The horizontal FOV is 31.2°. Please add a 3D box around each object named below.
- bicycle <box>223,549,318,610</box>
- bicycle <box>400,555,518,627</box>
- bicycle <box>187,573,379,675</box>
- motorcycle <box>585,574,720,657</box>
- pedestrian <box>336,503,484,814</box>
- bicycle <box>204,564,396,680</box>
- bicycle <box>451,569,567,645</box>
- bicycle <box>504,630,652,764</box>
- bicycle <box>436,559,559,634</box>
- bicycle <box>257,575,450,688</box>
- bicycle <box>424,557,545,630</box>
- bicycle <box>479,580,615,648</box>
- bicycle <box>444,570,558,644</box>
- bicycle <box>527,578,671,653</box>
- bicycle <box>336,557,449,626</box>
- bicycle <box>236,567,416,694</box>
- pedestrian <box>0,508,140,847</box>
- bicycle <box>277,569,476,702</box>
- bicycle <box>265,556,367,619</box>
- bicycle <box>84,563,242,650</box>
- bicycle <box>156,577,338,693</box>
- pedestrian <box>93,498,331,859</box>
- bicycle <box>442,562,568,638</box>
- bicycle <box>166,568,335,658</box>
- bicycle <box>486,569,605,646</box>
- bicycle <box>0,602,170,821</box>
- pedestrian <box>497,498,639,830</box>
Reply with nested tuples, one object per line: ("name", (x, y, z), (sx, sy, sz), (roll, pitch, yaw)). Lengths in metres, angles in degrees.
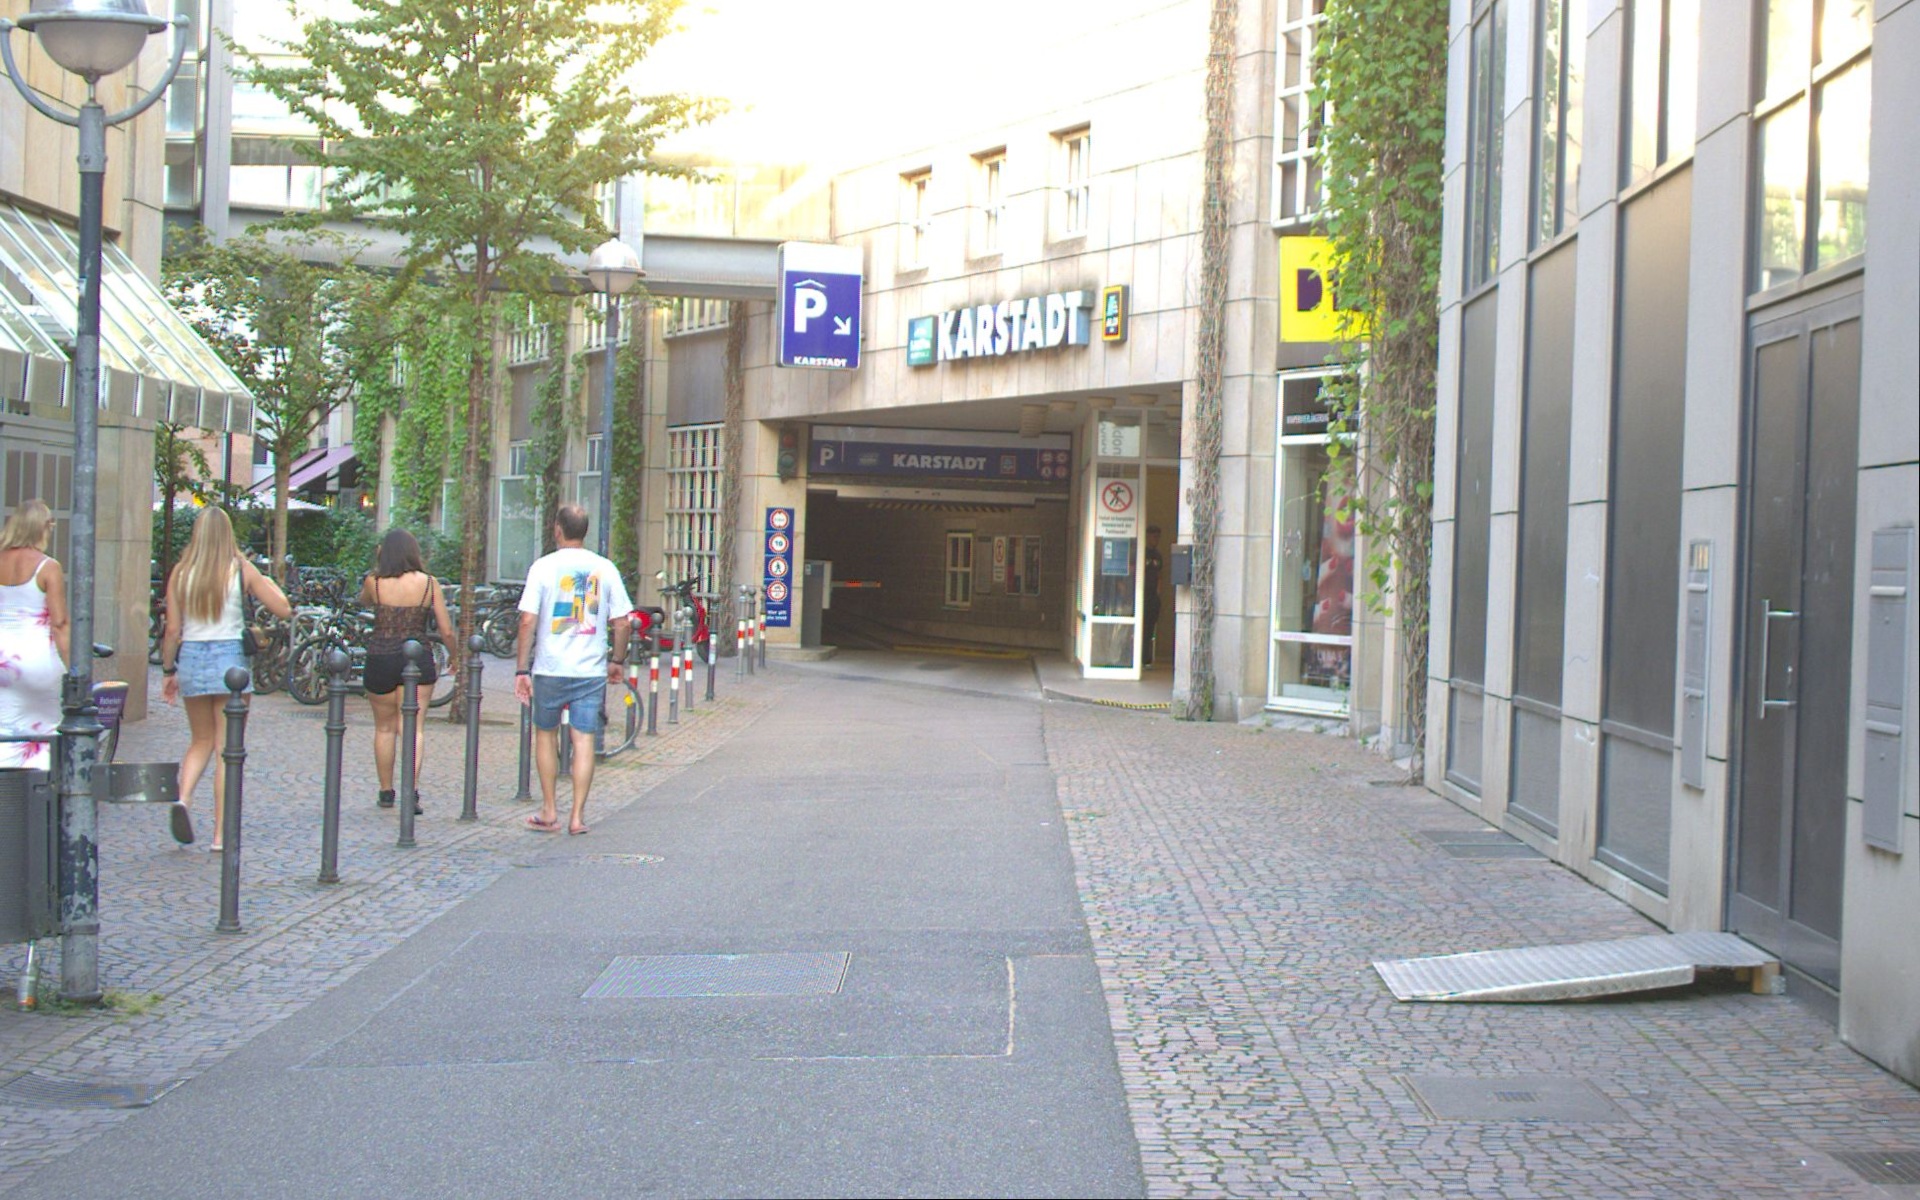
("bicycle", (-13.683, -0.409, 68.225), (1.773, 1.186, 0.586), (1, 1, -20))
("bicycle", (-8.000, -0.140, 54.951), (1.773, 1.110, 0.543), (1, 1, -20))
("bicycle", (-7.119, 0.251, 36.159), (1.893, 1.048, 0.534), (1, 1, -22))
("motorcycle", (-3.990, 0.204, 44.637), (1.662, 1.047, 0.464), (1, 1, -20))
("pedestrian", (-3.261, 0.333, 20.449), (0.785, 1.789, 0.972), (1, 1, -6))
("bicycle", (-6.839, 0.232, 35.626), (1.872, 1.173, 0.534), (1, 1, -22))
("bicycle", (-6.432, 0.104, 49.062), (1.539, 1.045, 0.575), (1, 1, -20))
("bicycle", (-2.875, 0.714, 26.025), (0.493, 0.935, 1.658), (3, 1, 15))
("bicycle", (-7.095, -0.059, 52.711), (1.773, 1.110, 0.543), (1, 1, -20))
("bicycle", (-6.112, 0.320, 34.666), (1.836, 1.118, 0.534), (1, 1, -22))
("bicycle", (-7.457, -0.098, 53.916), (1.773, 1.110, 0.543), (1, 1, -20))
("bicycle", (-5.658, 0.189, 47.129), (1.773, 0.901, 0.464), (1, 1, -20))
("bicycle", (-6.738, 0.100, 50.462), (1.539, 1.045, 0.575), (1, 1, -20))
("bicycle", (-4.860, 0.210, 46.271), (1.847, 0.979, 0.464), (1, 1, -20))
("bicycle", (-9.445, -0.133, 57.221), (1.773, 1.110, 0.543), (1, 1, -20))
("bicycle", (-6.228, 0.300, 33.775), (1.653, 1.226, 0.534), (1, 1, -22))
("pedestrian", (-4.664, 0.372, 17.408), (0.675, 1.659, 0.860), (2, 1, 9))
("bicycle", (-5.513, 0.335, 32.490), (1.766, 1.226, 0.534), (1, 1, -22))
("bicycle", (-11.806, -0.227, 63.017), (1.773, 1.110, 0.543), (1, 1, -17))
("bicycle", (-9.830, 0.082, 42.399), (1.824, 1.039, 0.534), (1, 1, -22))
("bicycle", (-7.639, 0.378, 36.839), (1.833, 1.221, 0.534), (1, 1, -22))
("pedestrian", (-3.726, 0.375, 17.183), (0.807, 1.723, 0.948), (2, 1, 11))
("bicycle", (-6.835, 0.001, 51.635), (1.773, 1.110, 0.543), (1, 1, -20))
("bicycle", (-8.387, 0.151, 40.628), (1.876, 1.039, 0.534), (1, 1, -22))
("bicycle", (-5.801, 0.109, 48.079), (1.539, 1.045, 0.575), (1, 1, -20))
("bicycle", (-5.107, 0.596, 19.228), (0.522, 1.134, 1.763), (1, 1, 17))
("pedestrian", (-2.205, 0.347, 19.414), (0.742, 1.816, 0.878), (1, 1, -5))
